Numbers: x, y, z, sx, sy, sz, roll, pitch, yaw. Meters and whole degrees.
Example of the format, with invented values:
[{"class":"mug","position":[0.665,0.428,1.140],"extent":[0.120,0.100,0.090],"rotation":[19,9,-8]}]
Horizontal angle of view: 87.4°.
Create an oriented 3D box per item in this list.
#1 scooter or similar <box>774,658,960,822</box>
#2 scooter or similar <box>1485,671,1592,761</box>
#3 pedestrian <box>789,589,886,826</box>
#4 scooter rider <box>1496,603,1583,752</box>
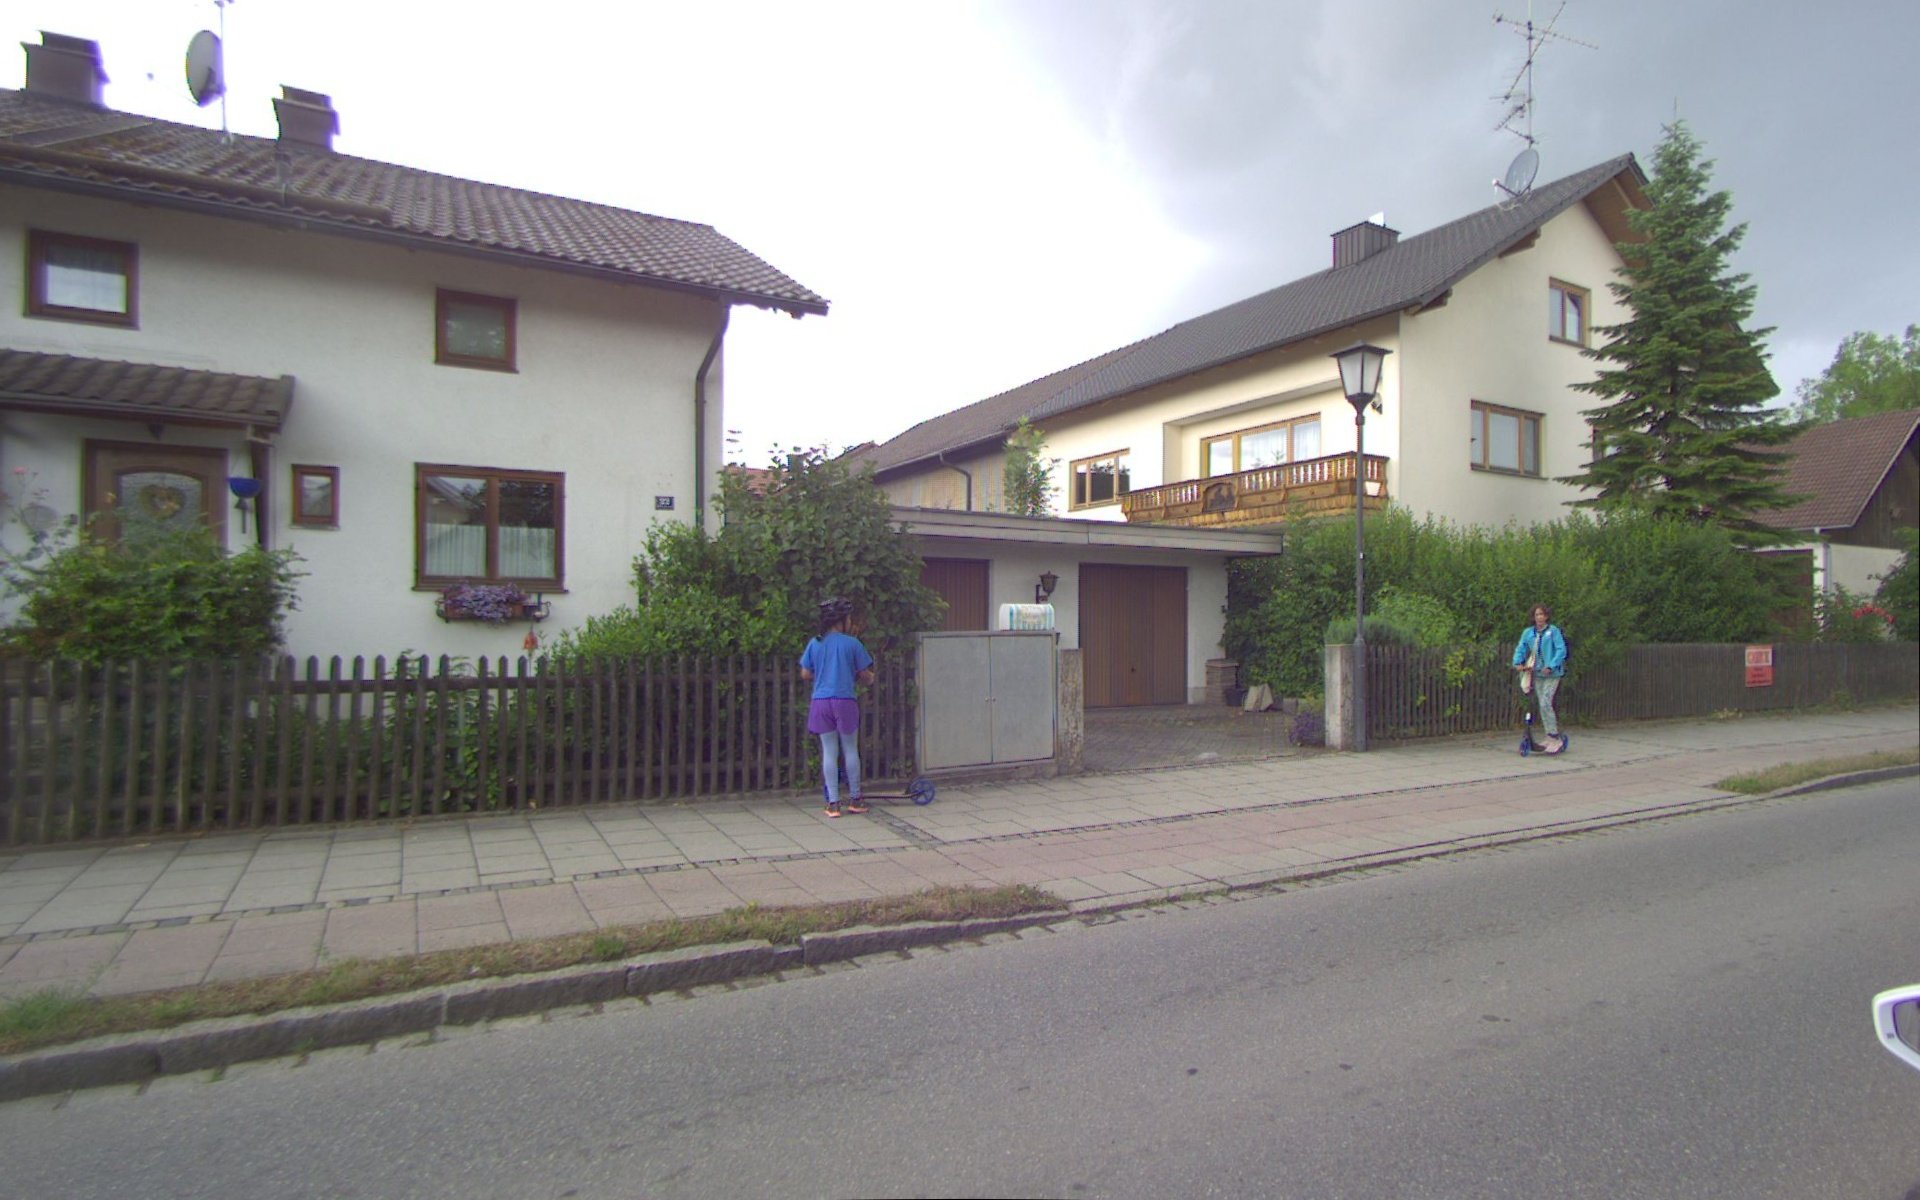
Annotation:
[{"class":"scooter or similar","position":[-0.671,0.960,7.224],"extent":[1.164,1.051,0.658],"rotation":[1,-1,-29]},{"class":"scooter or similar","position":[6.117,1.202,10.614],"extent":[1.049,0.861,0.519],"rotation":[1,-1,-29]},{"class":"pedestrian","position":[-0.845,0.707,6.900],"extent":[0.482,1.549,0.530],"rotation":[1,0,-28]},{"class":"scooter rider","position":[6.119,0.798,10.609],"extent":[0.707,1.509,0.500],"rotation":[1,0,-29]}]
